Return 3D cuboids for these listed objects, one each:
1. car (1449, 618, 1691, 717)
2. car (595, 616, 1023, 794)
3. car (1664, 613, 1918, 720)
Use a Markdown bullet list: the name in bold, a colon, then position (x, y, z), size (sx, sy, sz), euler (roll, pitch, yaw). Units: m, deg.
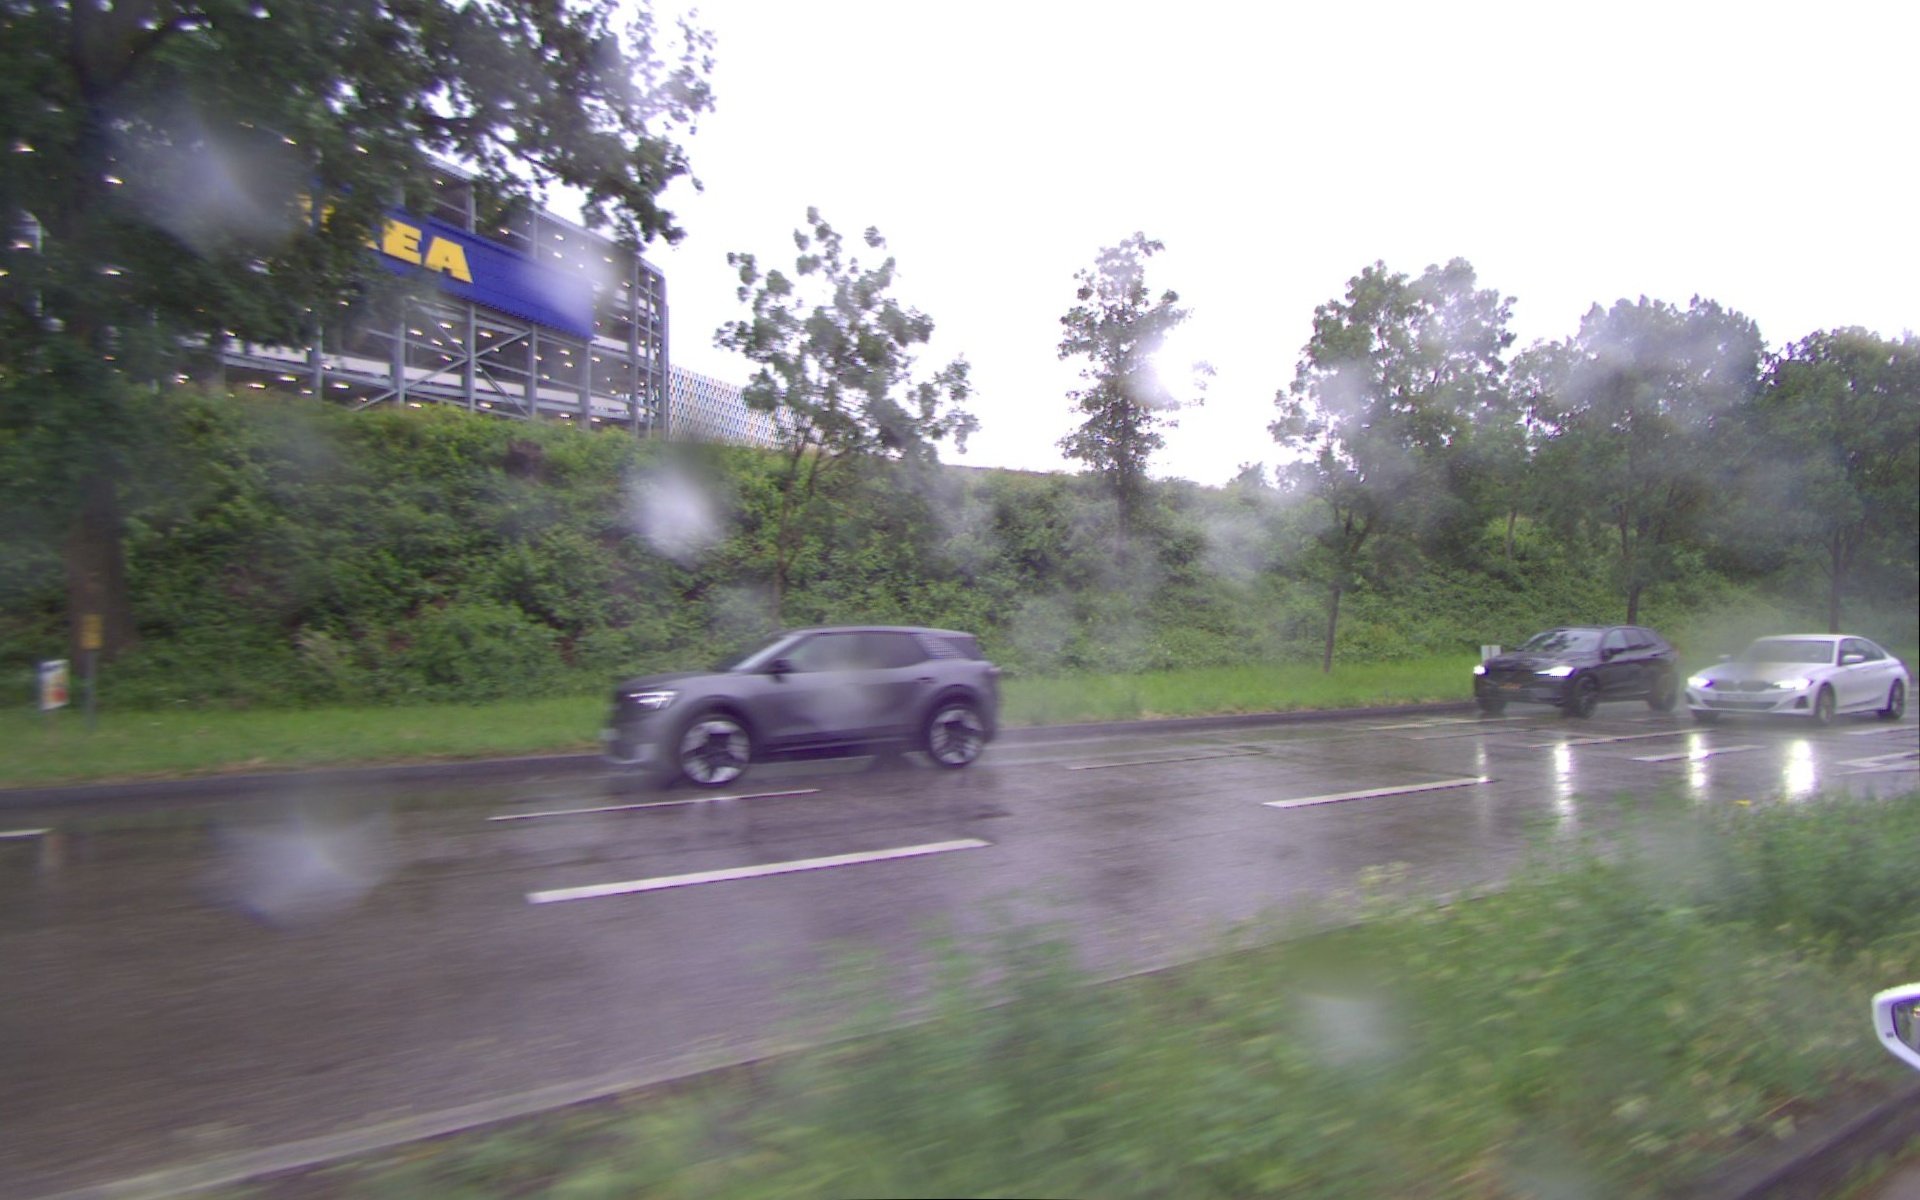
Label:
- **car**: position (11.598, 1.191, 19.046), size (4.625, 1.682, 2.027), euler (1, -1, -31)
- **car**: position (-1.611, 1.014, 11.189), size (4.355, 1.634, 1.889), euler (1, -1, -31)
- **car**: position (14.442, 1.085, 17.404), size (4.657, 1.634, 1.890), euler (1, -3, -31)
